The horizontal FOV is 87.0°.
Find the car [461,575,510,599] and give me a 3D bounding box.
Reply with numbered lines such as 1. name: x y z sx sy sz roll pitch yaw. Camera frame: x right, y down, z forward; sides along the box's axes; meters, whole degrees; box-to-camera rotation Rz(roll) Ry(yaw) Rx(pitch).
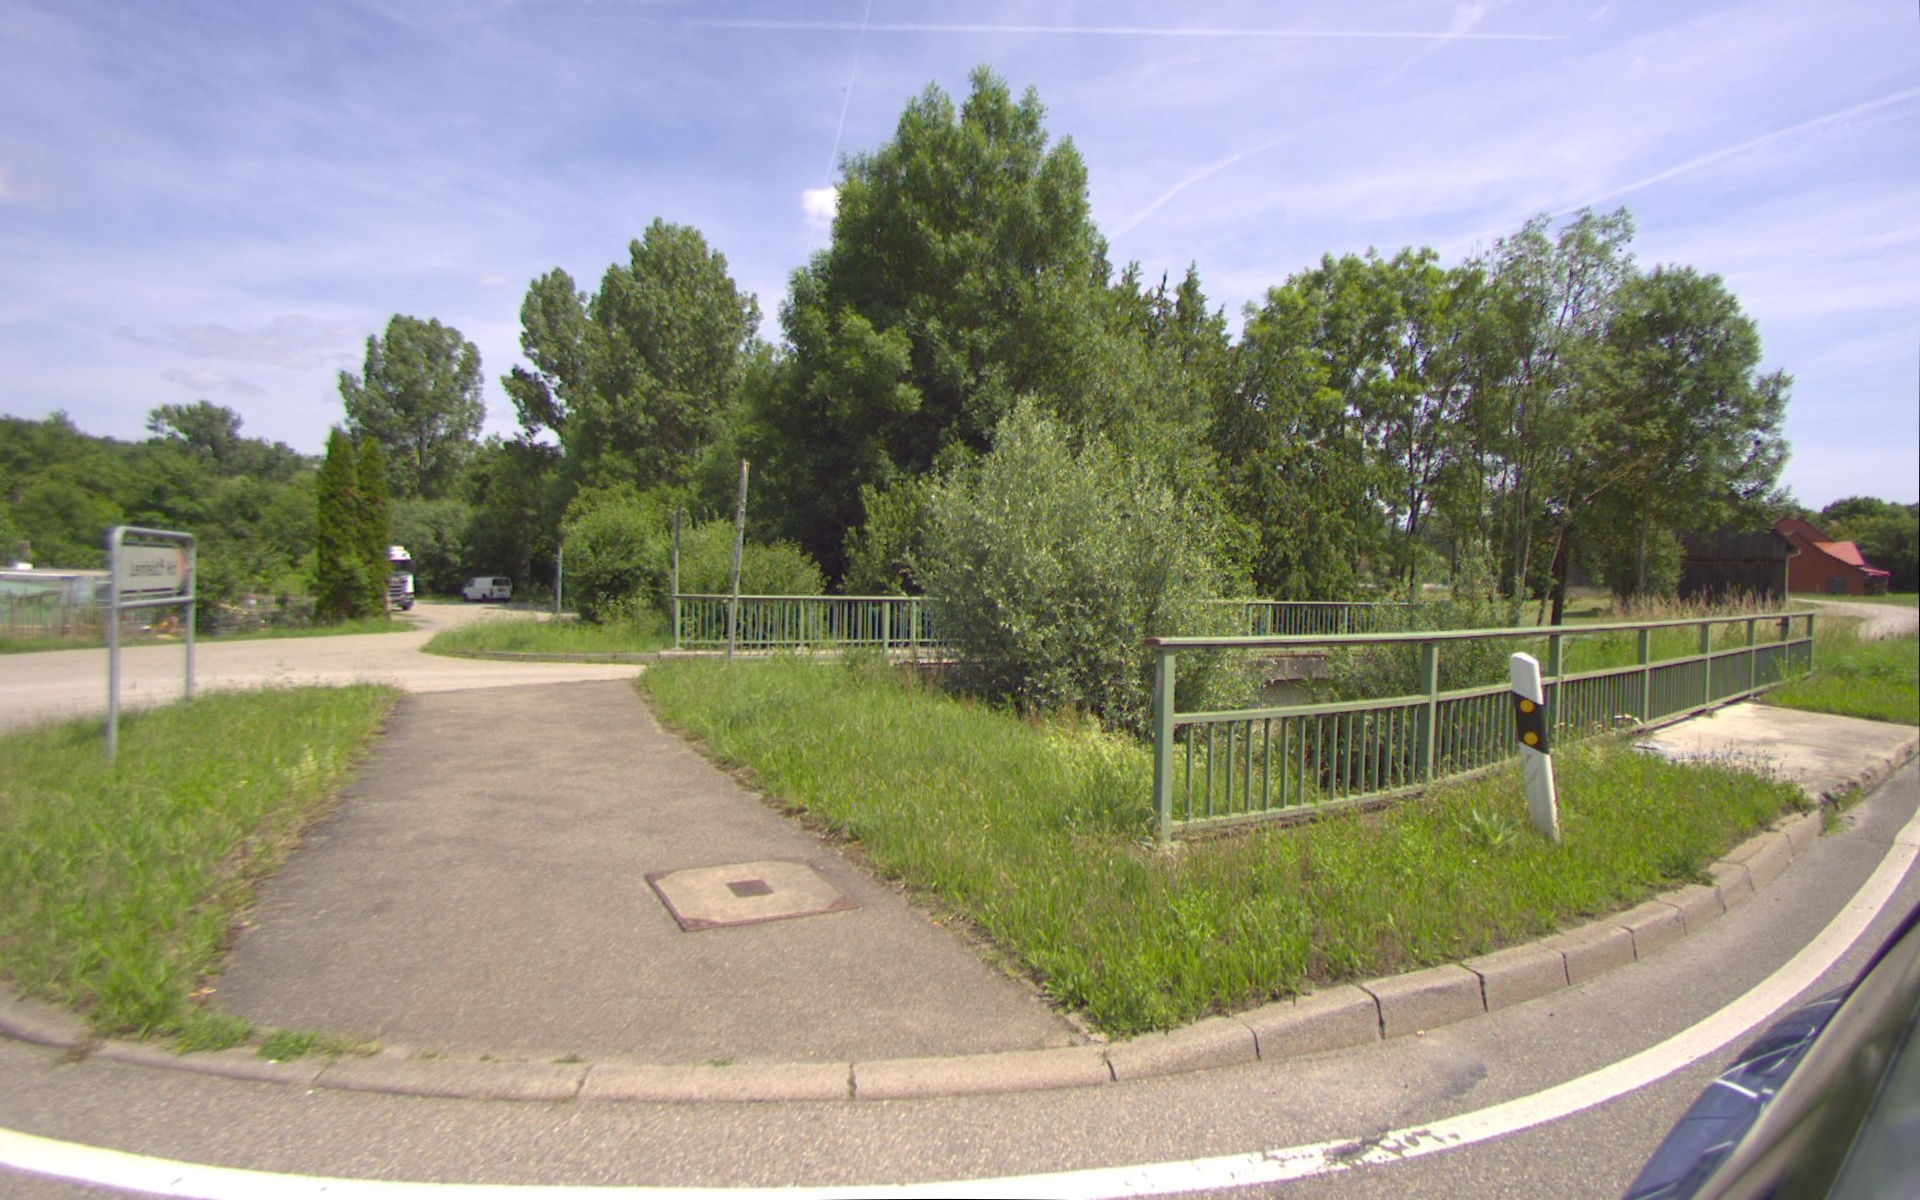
1. car: -36.111 -0.983 76.964 3.979 1.727 1.848 2 1 38

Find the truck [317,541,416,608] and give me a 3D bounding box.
1. truck: -36.084 -1.586 61.245 2.343 3.741 11.547 0 2 -45
